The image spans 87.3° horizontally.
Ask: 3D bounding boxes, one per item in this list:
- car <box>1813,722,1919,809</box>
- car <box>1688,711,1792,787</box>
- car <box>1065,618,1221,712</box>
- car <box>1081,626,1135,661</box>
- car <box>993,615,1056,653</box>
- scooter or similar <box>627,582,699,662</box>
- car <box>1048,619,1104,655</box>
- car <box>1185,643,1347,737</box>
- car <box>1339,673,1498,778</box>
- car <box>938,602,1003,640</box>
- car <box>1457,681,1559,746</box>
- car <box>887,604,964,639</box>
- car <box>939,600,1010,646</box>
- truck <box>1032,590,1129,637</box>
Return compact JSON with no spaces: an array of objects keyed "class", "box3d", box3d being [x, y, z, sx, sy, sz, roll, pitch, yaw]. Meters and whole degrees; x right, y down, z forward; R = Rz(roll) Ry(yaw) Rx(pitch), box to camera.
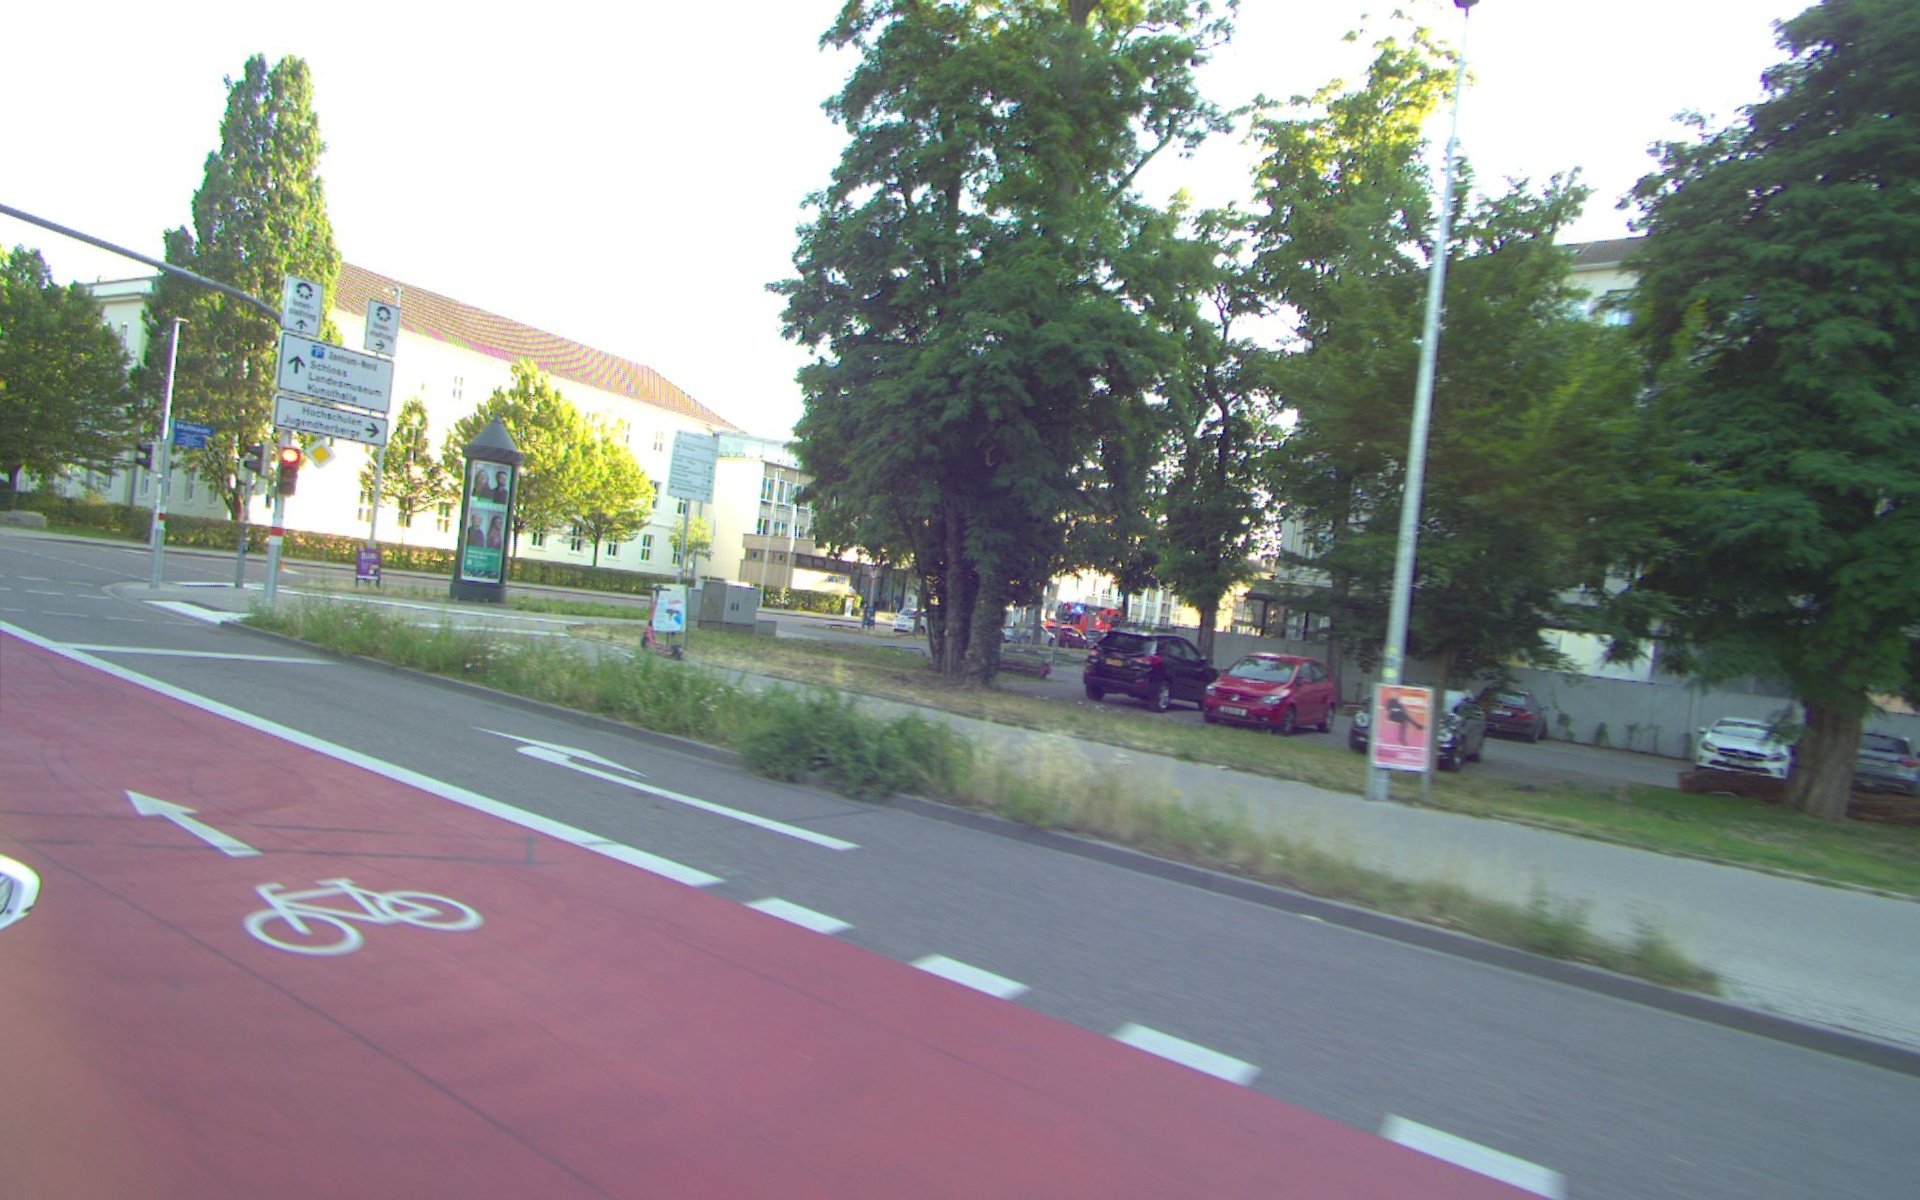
[{"class":"car","box3d":[21.777,3.925,24.112,1.886,1.635,3.984,6,-2,41]},{"class":"car","box3d":[19.652,3.715,25.344,1.806,1.492,3.986,7,-2,39]},{"class":"car","box3d":[4.241,1.523,22.839,1.808,1.714,3.900,7,-2,36]},{"class":"car","box3d":[10.108,2.995,68.583,1.790,1.893,4.137,7,-1,36]},{"class":"car","box3d":[3.889,2.062,59.893,1.721,1.782,3.990,7,-1,36]},{"class":"scooter or similar","box3d":[-5.230,0.373,17.680,1.289,1.246,0.311,7,1,32]},{"class":"car","box3d":[7.462,2.382,64.482,1.699,1.879,3.990,7,-1,36]},{"class":"car","box3d":[6.496,1.897,21.089,1.759,1.580,3.985,7,0,39]},{"class":"car","box3d":[8.711,2.235,18.889,1.871,1.467,4.568,5,0,34]},{"class":"car","box3d":[0.679,1.268,59.838,1.721,1.782,3.990,7,-1,36]},{"class":"car","box3d":[15.690,3.243,28.687,1.873,1.459,3.988,7,-2,37]},{"class":"car","box3d":[-1.765,1.135,52.554,1.793,1.358,3.986,7,-1,38]},{"class":"car","box3d":[0.854,1.297,56.010,1.713,2.037,3.989,7,-1,37]},{"class":"truck","box3d":[8.804,1.045,72.221,2.328,2.314,10.052,7,-2,34]}]
